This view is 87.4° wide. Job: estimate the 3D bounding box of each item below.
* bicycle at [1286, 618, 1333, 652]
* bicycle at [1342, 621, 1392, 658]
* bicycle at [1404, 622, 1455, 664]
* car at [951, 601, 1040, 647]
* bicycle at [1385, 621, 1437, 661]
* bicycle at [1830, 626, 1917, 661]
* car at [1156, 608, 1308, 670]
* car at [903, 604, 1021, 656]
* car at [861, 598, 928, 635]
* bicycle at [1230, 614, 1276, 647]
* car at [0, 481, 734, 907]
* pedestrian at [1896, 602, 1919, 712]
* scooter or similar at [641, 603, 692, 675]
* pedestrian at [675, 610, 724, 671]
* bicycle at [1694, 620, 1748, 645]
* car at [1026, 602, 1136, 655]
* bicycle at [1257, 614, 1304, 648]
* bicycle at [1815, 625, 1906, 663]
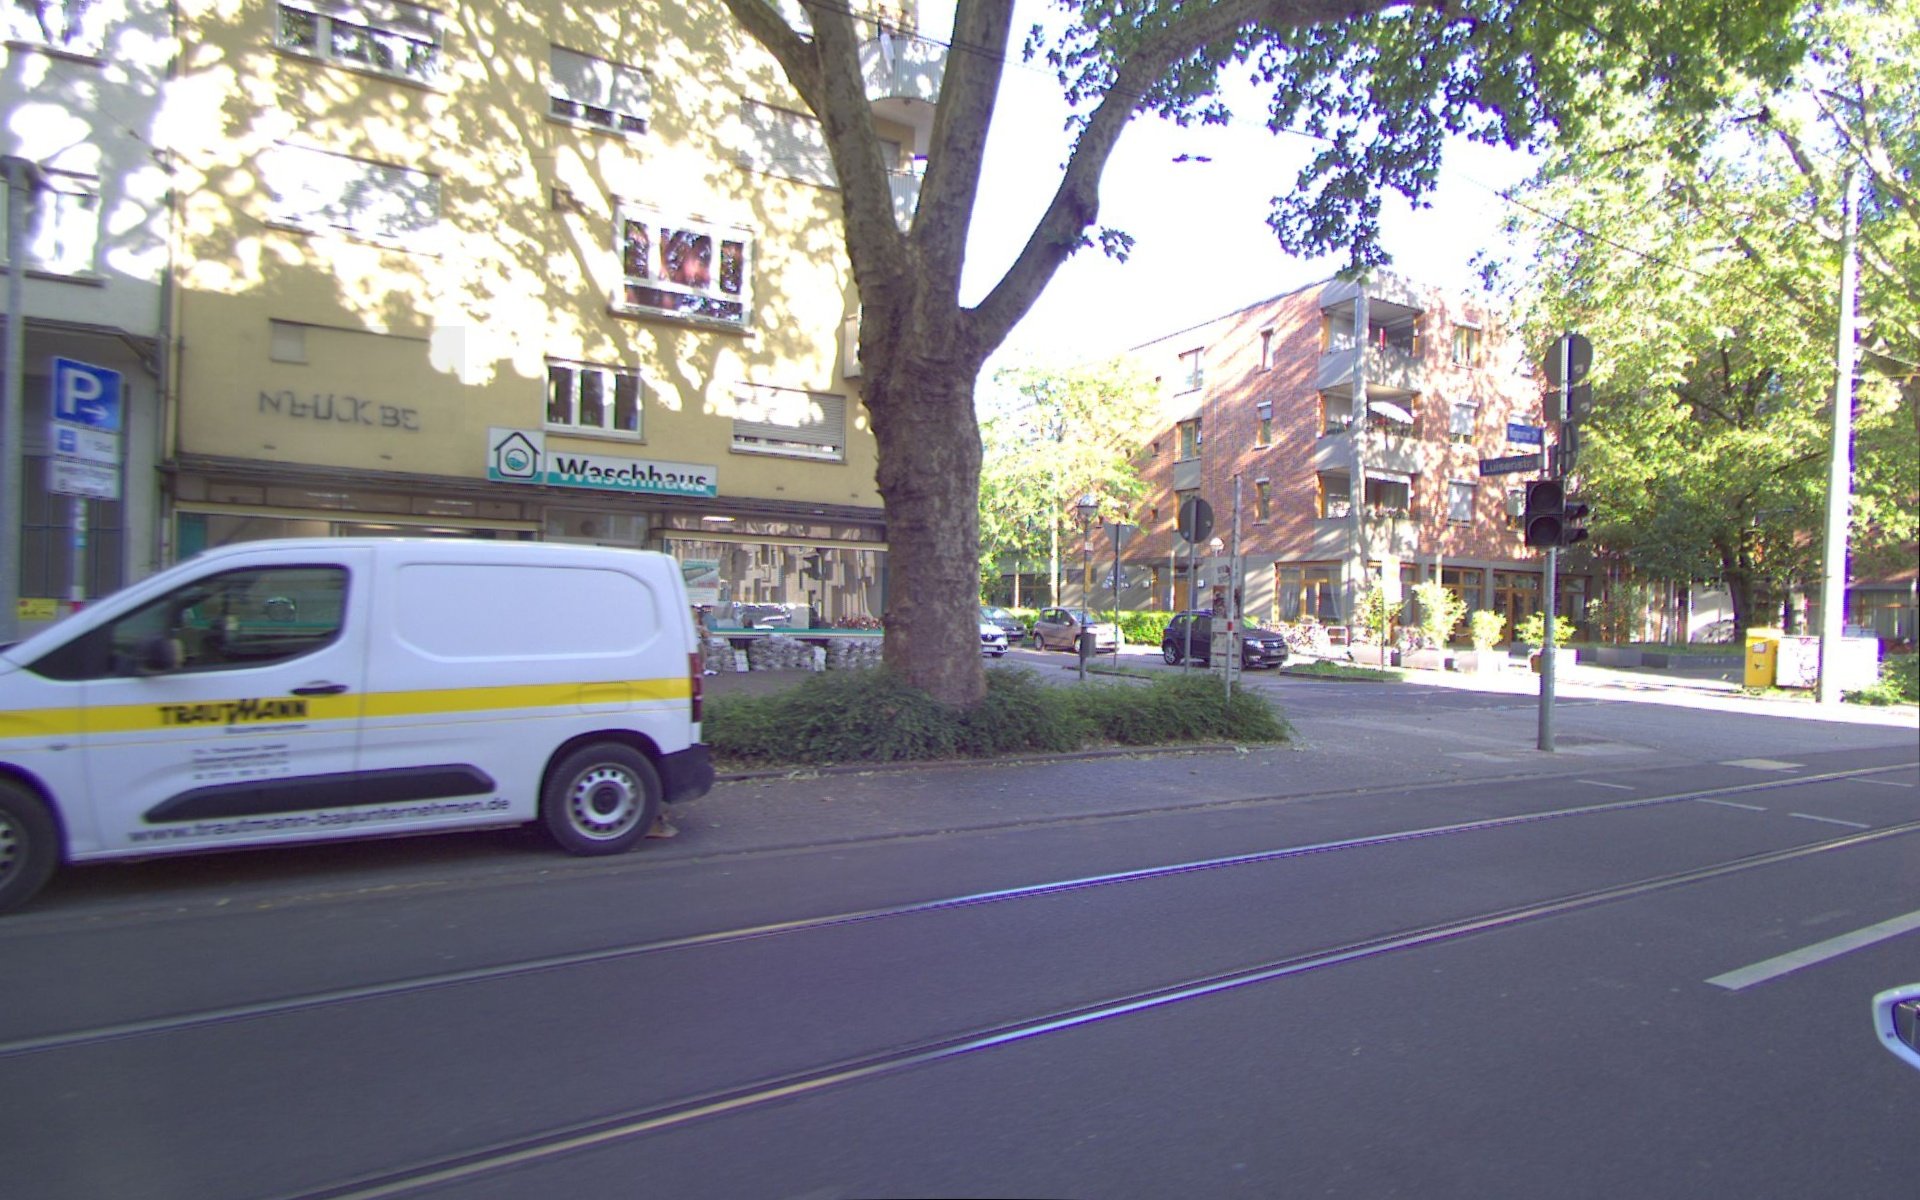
[{"bbox_3d":[11.502,1.149,33.047,1.619,1.099,0.539,1,1,-30],"label":"bicycle"},{"bbox_3d":[12.571,1.206,30.998,1.619,1.099,0.539,0,2,-30],"label":"bicycle"},{"bbox_3d":[13.505,1.221,28.875,1.518,1.099,0.539,-1,2,-30],"label":"bicycle"},{"bbox_3d":[1.380,0.951,40.909,1.845,1.684,3.970,2,0,-28],"label":"car"},{"bbox_3d":[13.215,1.185,29.427,1.619,1.099,0.539,-1,2,-30],"label":"bicycle"},{"bbox_3d":[35.108,1.653,38.642,0.673,1.182,2.331,2,1,-27],"label":"bicycle"},{"bbox_3d":[7.694,1.074,28.774,1.976,1.528,3.970,2,0,-29],"label":"car"},{"bbox_3d":[-0.001,0.888,31.113,1.976,1.394,3.970,2,0,-29],"label":"car"},{"bbox_3d":[-3.323,0.789,50.086,1.815,1.639,3.970,2,0,-28],"label":"car"},{"bbox_3d":[10.385,1.081,35.587,1.619,1.098,0.539,2,0,-30],"label":"bicycle"},{"bbox_3d":[-3.664,0.434,5.748,4.268,1.875,1.754,2,0,-30],"label":"car"},{"bbox_3d":[16.765,0.974,17.136,0.910,1.860,0.919,-1,2,-32],"label":"pedestrian"},{"bbox_3d":[-5.046,0.662,17.285,0.662,1.183,0.644,2,0,-2],"label":"scooter or similar"},{"bbox_3d":[-4.699,0.730,18.089,0.703,1.061,0.575,2,1,-30],"label":"pedestrian"},{"bbox_3d":[36.065,1.537,47.631,0.760,1.087,1.921,2,1,-43],"label":"bicycle"},{"bbox_3d":[4.228,0.936,35.577,1.936,1.684,3.970,-1,1,-28],"label":"car"},{"bbox_3d":[10.974,1.055,34.385,1.619,1.098,0.539,2,0,-30],"label":"bicycle"},{"bbox_3d":[34.287,1.663,38.298,0.673,1.235,2.449,2,2,-27],"label":"bicycle"}]
